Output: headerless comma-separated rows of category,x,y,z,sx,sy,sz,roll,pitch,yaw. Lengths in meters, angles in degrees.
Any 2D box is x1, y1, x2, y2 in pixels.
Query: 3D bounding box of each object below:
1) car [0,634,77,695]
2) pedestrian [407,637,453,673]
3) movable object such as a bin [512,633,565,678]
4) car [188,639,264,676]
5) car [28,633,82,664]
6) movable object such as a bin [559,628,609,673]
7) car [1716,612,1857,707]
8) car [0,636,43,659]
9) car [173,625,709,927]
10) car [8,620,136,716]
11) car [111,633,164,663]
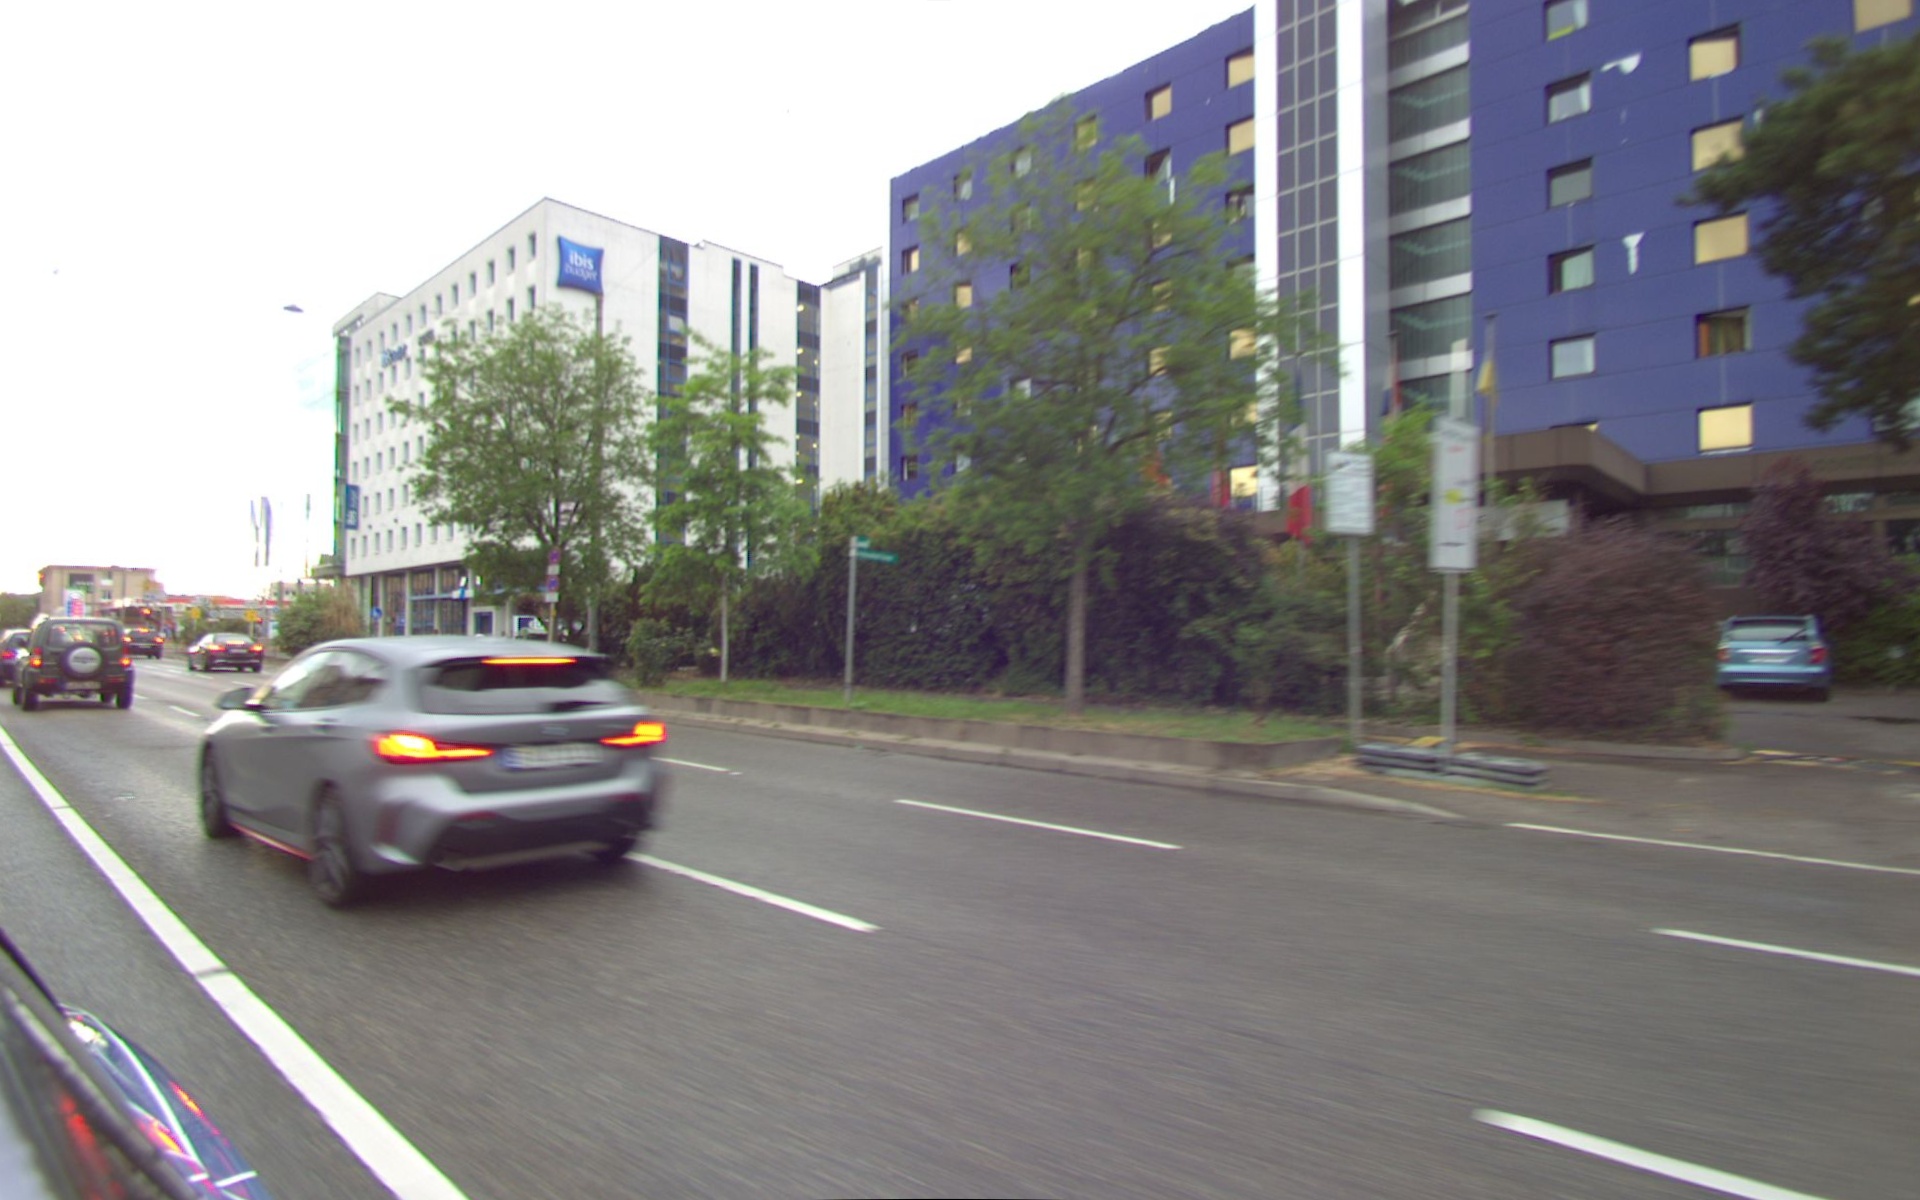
car,-24.459,1.636,26.495,3.821,1.497,1.641,-2,-3,44
pedestrian,-26.421,2.719,50.503,1.965,1.734,1.701,0,-3,-27
movable object such as a bin,-14.828,1.978,35.620,0.950,1.502,1.377,-5,-7,37
car,-28.078,2.206,38.660,1.602,1.334,4.448,5,-6,-45
car,-49.666,2.701,55.505,4.450,1.568,1.737,-4,-7,43
movable object such as a bin,-13.430,1.804,36.150,1.371,1.502,0.954,5,-3,-35
car,16.693,1.140,20.383,3.941,1.717,1.746,1,-3,-45
car,-60.435,3.017,65.002,4.963,1.397,1.797,-2,-4,43
car,-3.564,0.876,6.631,3.997,1.376,1.694,-1,-3,40
car,-17.003,1.286,19.337,3.420,1.679,1.486,-4,-5,44
car,-45.432,2.671,55.866,4.035,1.578,1.689,-3,-6,44
